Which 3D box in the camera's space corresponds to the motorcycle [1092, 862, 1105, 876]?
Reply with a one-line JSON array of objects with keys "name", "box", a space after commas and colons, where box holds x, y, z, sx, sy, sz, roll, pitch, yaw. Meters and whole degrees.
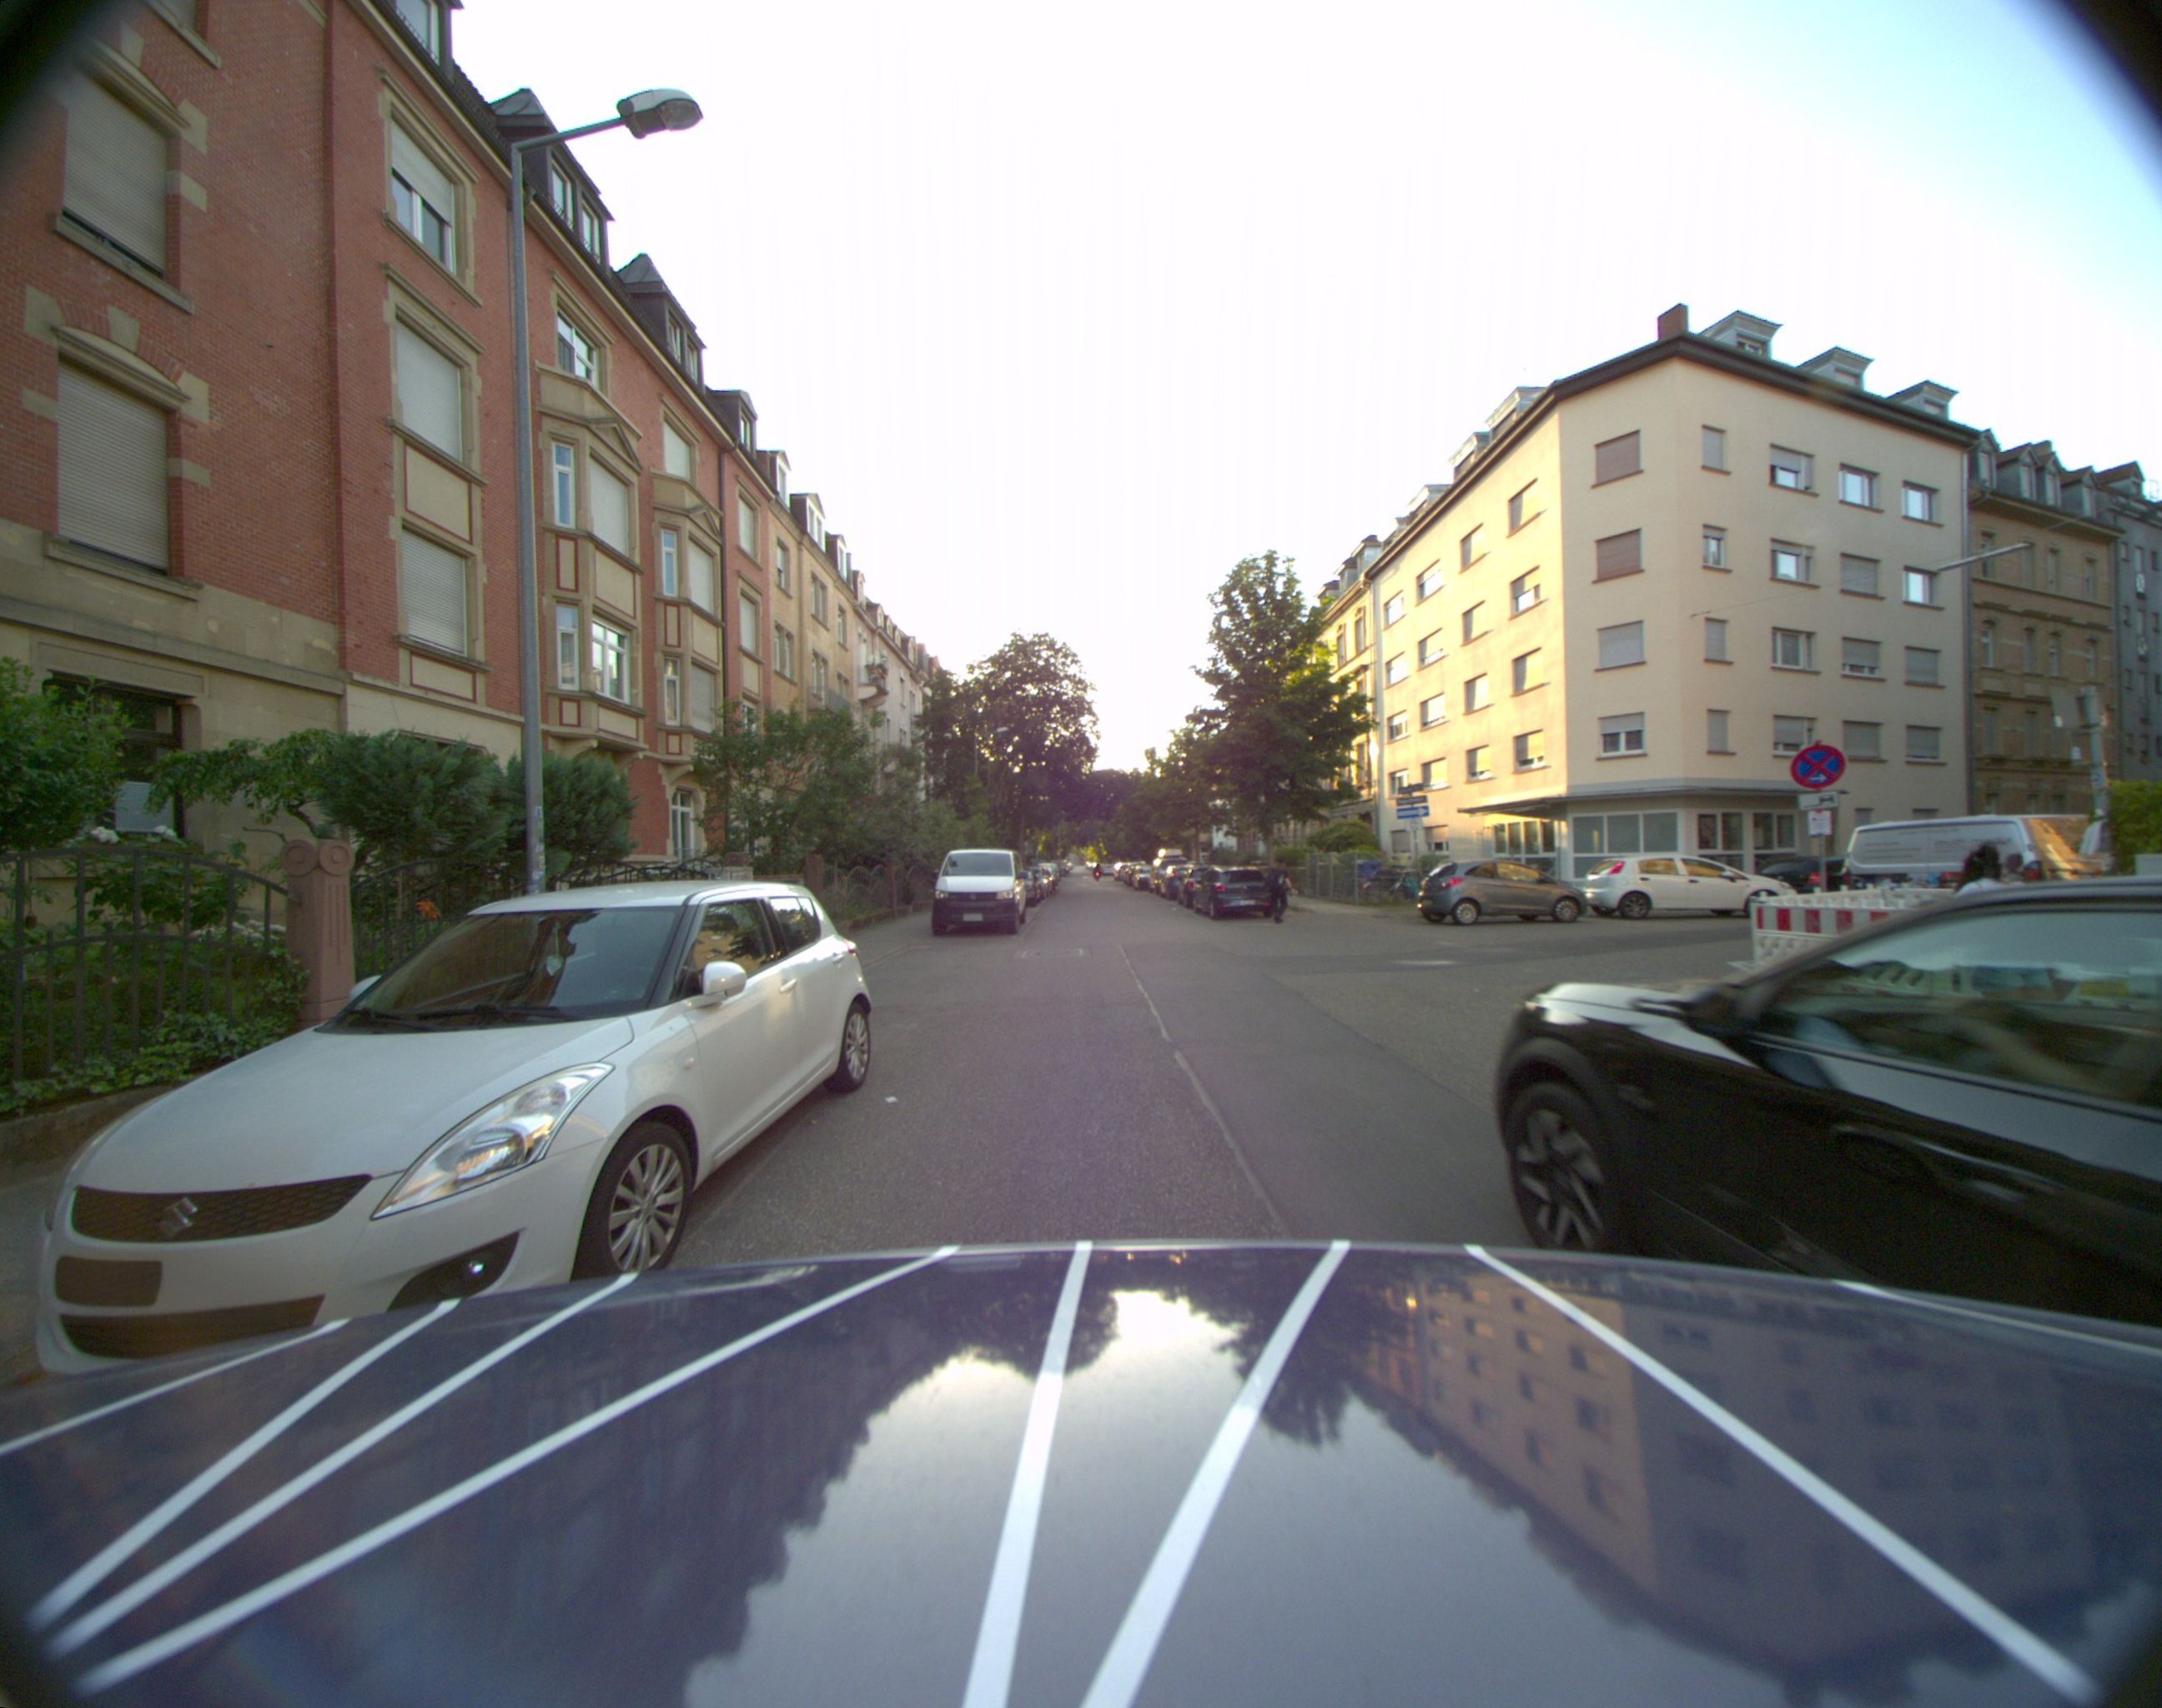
[{"name": "motorcycle", "box": [1.587, 1.336, 68.752, 0.848, 1.202, 2.076, 1, 0, 10]}]

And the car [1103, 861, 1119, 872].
[{"name": "car", "box": [4.021, 1.673, 103.334, 1.953, 1.484, 3.738, -2, 0, -1]}]

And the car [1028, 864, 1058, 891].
[{"name": "car", "box": [-2.352, 1.429, 47.820, 1.737, 1.498, 4.163, -2, 0, -2]}]

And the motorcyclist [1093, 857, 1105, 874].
[{"name": "motorcyclist", "box": [1.627, 1.003, 68.881, 0.891, 1.496, 0.970, 1, 1, 10]}]

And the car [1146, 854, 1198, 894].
[{"name": "car", "box": [4.395, 0.937, 37.488, 1.866, 1.768, 4.622, -2, 0, -1]}]

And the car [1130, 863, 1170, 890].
[{"name": "car", "box": [3.946, 1.264, 43.880, 1.733, 1.433, 4.024, -2, 0, -2]}]

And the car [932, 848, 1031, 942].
[{"name": "car", "box": [-2.320, 0.892, 19.158, 1.866, 2.027, 5.544, 0, 0, -1]}]

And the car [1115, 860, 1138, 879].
[{"name": "car", "box": [4.132, 1.425, 69.569, 1.677, 1.627, 3.940, -2, 0, -3]}]

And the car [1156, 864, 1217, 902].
[{"name": "car", "box": [4.433, 1.173, 32.632, 1.866, 1.404, 4.590, -2, 0, -1]}]

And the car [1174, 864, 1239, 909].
[{"name": "car", "box": [4.451, 1.117, 27.476, 1.746, 1.412, 4.143, -2, 0, 2]}]

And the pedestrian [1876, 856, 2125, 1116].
[{"name": "pedestrian", "box": [6.263, 0.839, 5.222, 0.711, 1.608, 0.786, -3, 0, -5]}]

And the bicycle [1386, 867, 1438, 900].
[{"name": "bicycle", "box": [11.418, 1.014, 26.227, 0.502, 1.086, 1.545, -3, 0, -38]}]

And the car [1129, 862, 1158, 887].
[{"name": "car", "box": [3.964, 1.257, 48.597, 1.441, 1.485, 3.298, -2, 0, -2]}]

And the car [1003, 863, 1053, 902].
[{"name": "car", "box": [-2.383, 1.263, 35.458, 1.761, 1.573, 4.842, -3, 0, 2]}]

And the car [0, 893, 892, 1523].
[{"name": "car", "box": [-2.404, 1.061, 3.958, 1.678, 1.468, 3.862, -2, 0, 2]}]

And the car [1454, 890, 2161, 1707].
[{"name": "car", "box": [2.499, 0.916, 1.389, 1.783, 1.508, 4.000, 0, 0, 2]}]

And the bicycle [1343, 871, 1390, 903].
[{"name": "bicycle", "box": [9.846, 1.127, 26.263, 0.689, 1.019, 1.931, -3, 0, -6]}]

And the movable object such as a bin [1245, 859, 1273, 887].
[{"name": "movable object such as a bin", "box": [9.161, 0.976, 39.180, 0.948, 1.379, 1.551, -3, 0, -4]}]

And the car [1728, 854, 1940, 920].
[{"name": "car", "box": [18.598, 0.779, 18.814, 4.082, 1.430, 1.996, -1, -1, -17]}]

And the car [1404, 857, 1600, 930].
[{"name": "car", "box": [9.701, 0.883, 17.736, 3.515, 1.498, 1.845, -2, -1, -1]}]

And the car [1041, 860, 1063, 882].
[{"name": "car", "box": [-2.400, 1.403, 63.059, 1.737, 1.691, 4.168, -2, 0, -2]}]

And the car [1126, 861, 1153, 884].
[{"name": "car", "box": [4.057, 1.285, 53.056, 1.682, 1.489, 3.626, -2, 0, 2]}]

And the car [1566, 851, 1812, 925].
[{"name": "car", "box": [14.222, 0.777, 18.055, 4.066, 1.499, 1.975, -3, 0, 12]}]

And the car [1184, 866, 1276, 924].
[{"name": "car", "box": [4.308, 1.127, 22.649, 1.679, 1.453, 4.463, -2, 0, -2]}]

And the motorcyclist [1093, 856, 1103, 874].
[{"name": "motorcyclist", "box": [1.502, 0.990, 68.125, 0.789, 1.531, 0.546, 1, 1, 10]}]

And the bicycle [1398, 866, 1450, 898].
[{"name": "bicycle", "box": [11.915, 0.971, 26.432, 0.502, 1.086, 1.545, -3, 0, -38]}]

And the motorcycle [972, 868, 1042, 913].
[{"name": "motorcycle", "box": [-2.546, 1.227, 26.123, 2.099, 1.473, 1.130, 0, 0, -34]}]

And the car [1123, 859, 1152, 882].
[{"name": "car", "box": [4.276, 1.228, 58.098, 1.866, 1.653, 4.021, -2, 0, 0]}]

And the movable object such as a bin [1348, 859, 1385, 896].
[{"name": "movable object such as a bin", "box": [10.893, 0.889, 29.064, 0.868, 1.344, 1.398, -3, 0, 1]}]

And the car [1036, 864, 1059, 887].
[{"name": "car", "box": [-2.294, 1.470, 53.040, 1.479, 1.498, 3.928, -2, 0, -2]}]

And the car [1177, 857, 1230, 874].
[{"name": "car", "box": [10.840, 1.020, 67.229, 4.413, 1.333, 1.626, -2, 0, 1]}]

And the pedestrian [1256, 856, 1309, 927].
[{"name": "pedestrian", "box": [5.081, 0.930, 19.169, 0.889, 1.712, 0.960, -3, 0, 42]}]

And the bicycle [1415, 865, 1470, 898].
[{"name": "bicycle", "box": [12.527, 0.958, 26.373, 0.386, 1.086, 1.707, -3, 0, -37]}]

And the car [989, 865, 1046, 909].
[{"name": "car", "box": [-2.442, 1.246, 30.204, 1.724, 1.542, 4.326, -2, 0, 2]}]

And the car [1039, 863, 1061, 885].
[{"name": "car", "box": [-2.335, 1.504, 57.437, 1.502, 1.538, 3.338, -2, 0, -2]}]

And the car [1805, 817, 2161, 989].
[{"name": "car", "box": [13.099, 0.537, 10.734, 5.300, 1.963, 2.205, -1, -1, -23]}]

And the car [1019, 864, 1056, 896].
[{"name": "car", "box": [-2.247, 1.337, 39.955, 1.590, 1.516, 3.603, -3, 0, 2]}]
